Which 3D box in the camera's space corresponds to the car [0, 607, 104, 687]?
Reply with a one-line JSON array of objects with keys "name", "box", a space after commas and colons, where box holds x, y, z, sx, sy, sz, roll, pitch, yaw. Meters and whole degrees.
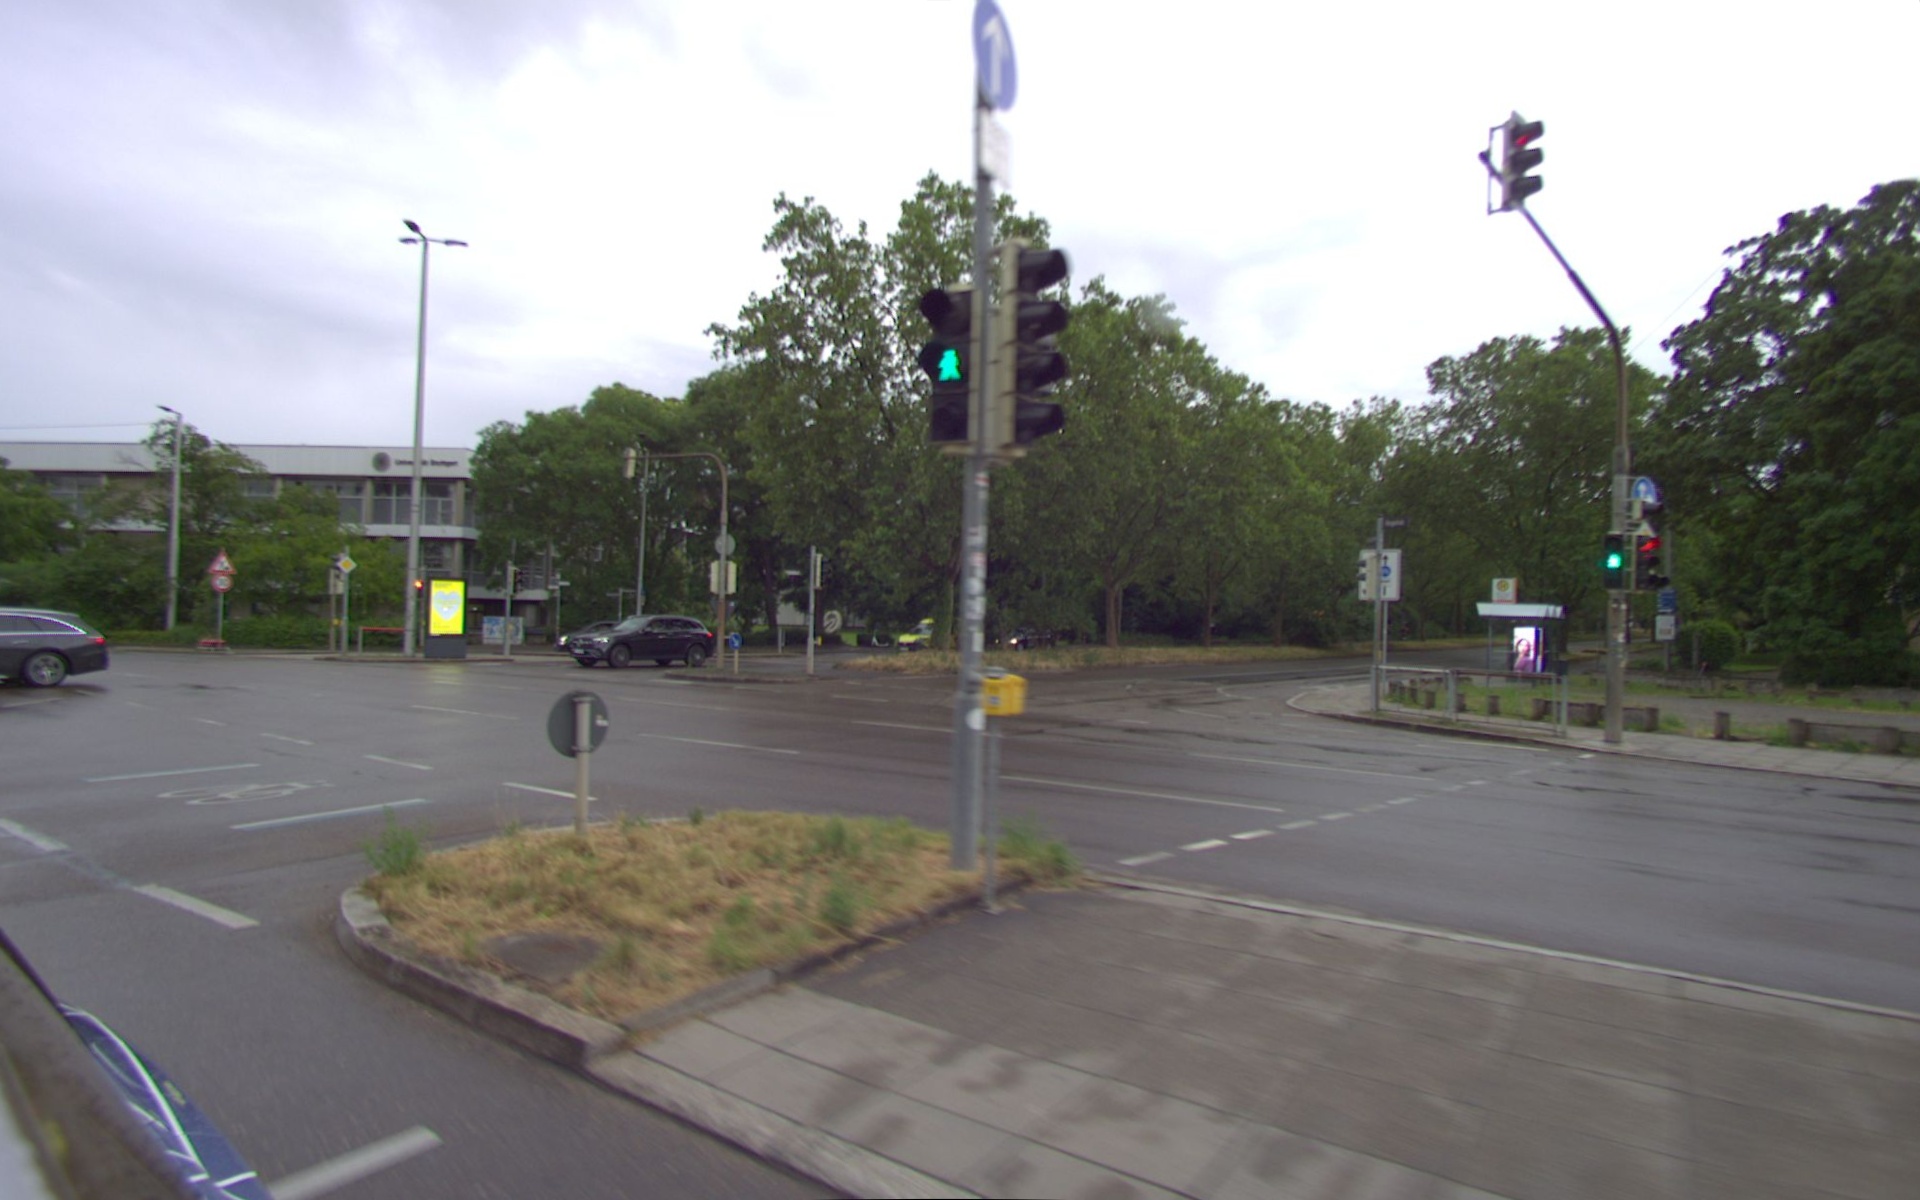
[{"name": "car", "box": [-18.696, 0.826, 18.049, 1.878, 1.456, 4.878, 0, -2, 31]}]

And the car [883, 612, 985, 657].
[{"name": "car", "box": [-1.095, 1.523, 44.225, 1.884, 1.891, 4.679, -3, -3, 39]}]

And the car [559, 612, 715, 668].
[{"name": "car", "box": [-10.113, 1.257, 31.985, 1.831, 1.620, 4.521, -2, -3, 36]}]

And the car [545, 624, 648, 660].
[{"name": "car", "box": [-15.358, 1.750, 42.764, 3.930, 1.461, 1.874, 1, -2, -26]}]

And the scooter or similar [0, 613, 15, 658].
[{"name": "scooter or similar", "box": [-26.835, 0.979, 27.685, 0.588, 1.248, 1.306, -1, -1, 16]}]

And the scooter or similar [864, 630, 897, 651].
[{"name": "scooter or similar", "box": [-4.647, 2.375, 59.277, 1.858, 1.109, 0.560, 3, 0, -31]}]

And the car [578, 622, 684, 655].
[{"name": "car", "box": [-15.216, 1.785, 46.894, 4.328, 1.461, 1.873, 2, -2, -31]}]

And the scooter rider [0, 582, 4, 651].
[{"name": "scooter rider", "box": [-26.821, 0.467, 27.739, 0.720, 1.897, 0.628, -1, -1, 18]}]
